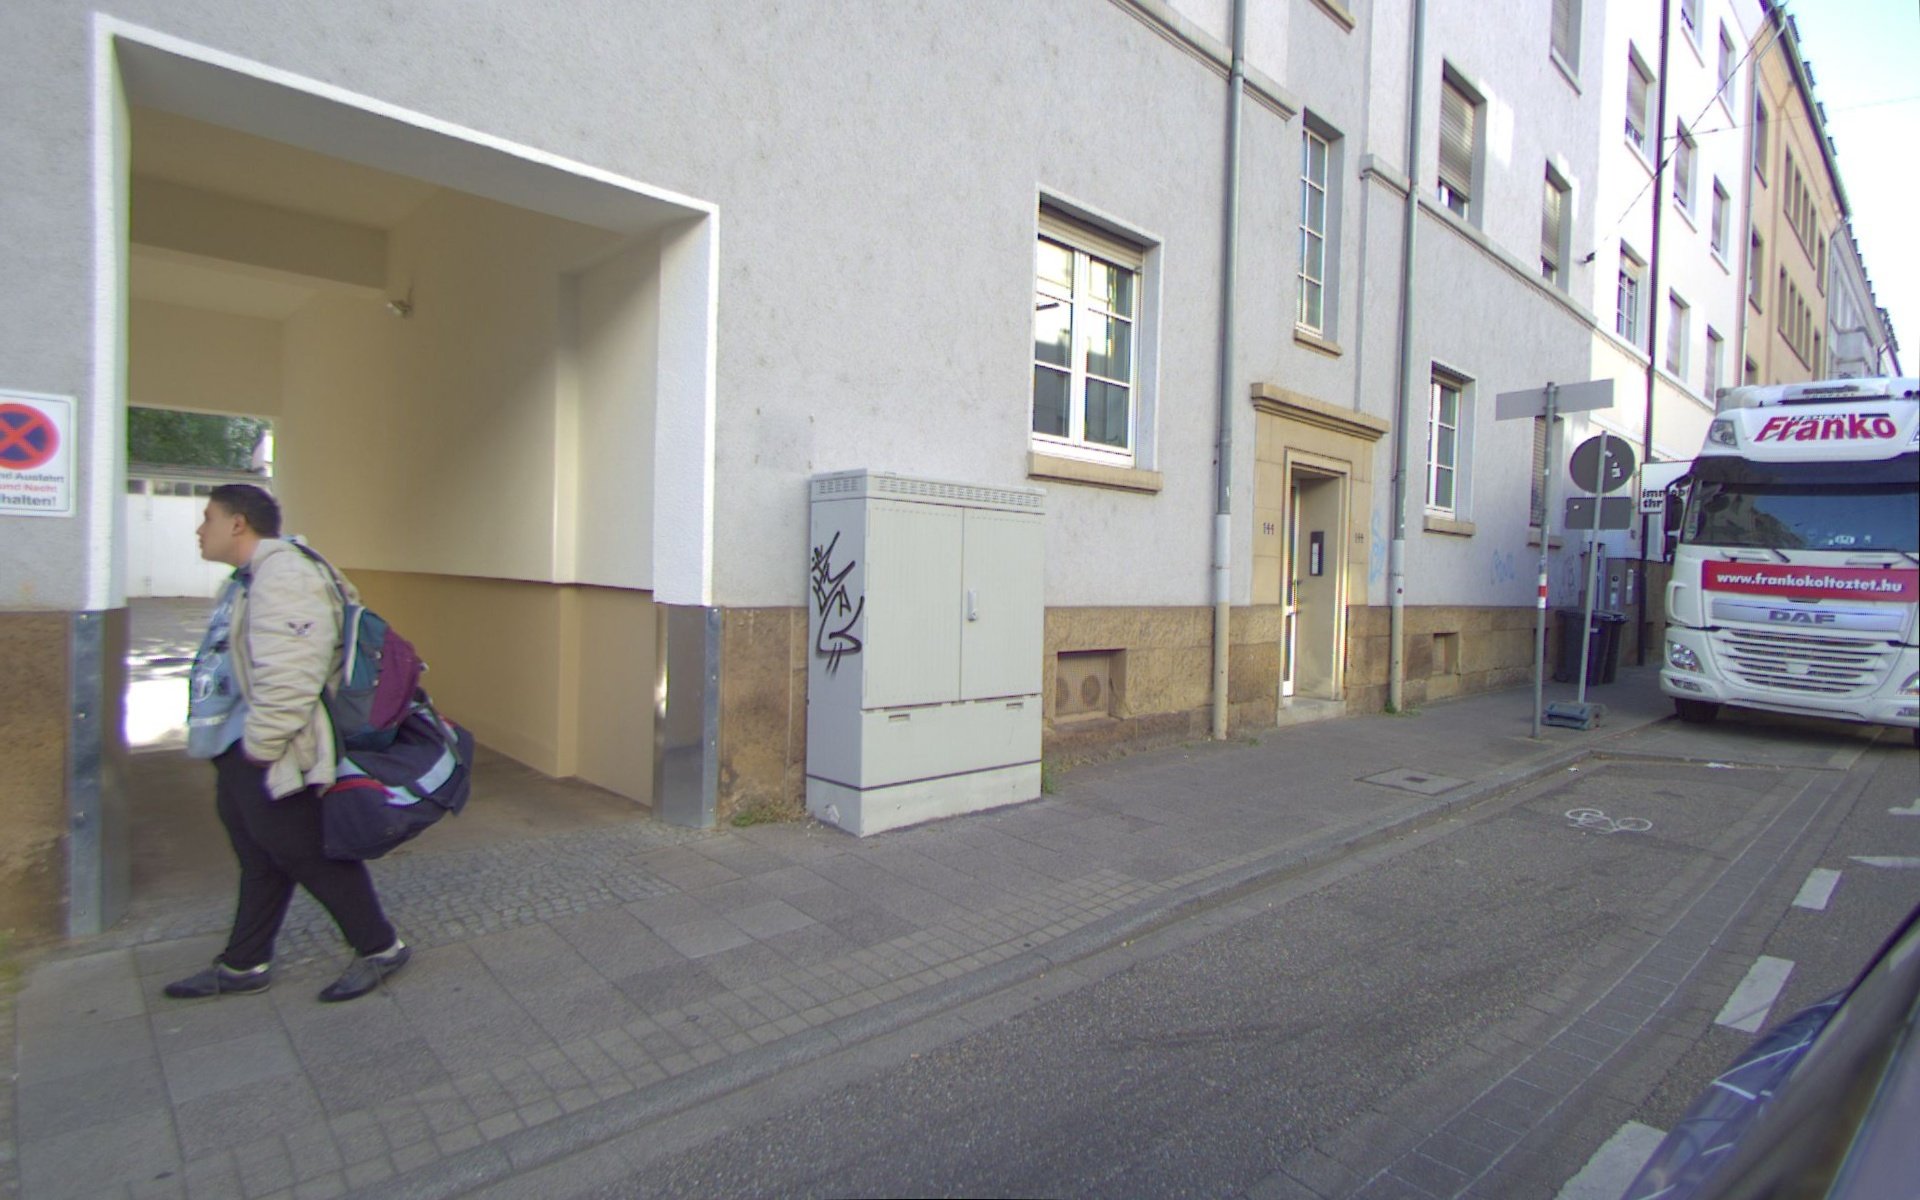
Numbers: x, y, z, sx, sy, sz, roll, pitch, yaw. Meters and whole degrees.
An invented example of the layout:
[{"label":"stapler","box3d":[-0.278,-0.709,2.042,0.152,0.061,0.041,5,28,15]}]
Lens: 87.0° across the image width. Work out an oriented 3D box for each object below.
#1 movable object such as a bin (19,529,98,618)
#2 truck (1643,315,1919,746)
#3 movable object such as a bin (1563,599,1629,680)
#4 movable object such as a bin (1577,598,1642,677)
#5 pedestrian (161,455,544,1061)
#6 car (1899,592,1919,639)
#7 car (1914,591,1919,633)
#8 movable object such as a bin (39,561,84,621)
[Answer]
[{"label":"movable object such as a bin","box3d":[-15.159,-0.454,17.014,0.946,1.426,1.597,0,2,-43]},{"label":"truck","box3d":[12.570,-0.682,13.878,11.621,3.975,2.778,0,2,-44]},{"label":"movable object such as a bin","box3d":[9.166,0.549,14.585,0.560,1.107,0.665,0,2,-43]},{"label":"movable object such as a bin","box3d":[9.645,0.541,15.036,0.560,1.107,0.665,0,2,-43]},{"label":"pedestrian","box3d":[-1.962,0.391,3.251,0.854,1.590,0.875,1,3,-43]},{"label":"car","box3d":[33.499,0.526,34.731,4.080,1.551,1.681,0,0,-44]},{"label":"car","box3d":[37.669,0.458,38.629,4.080,1.551,1.681,0,0,-44]},{"label":"movable object such as a bin","box3d":[-14.382,-0.148,16.196,0.518,0.922,0.580,0,2,-43]}]
